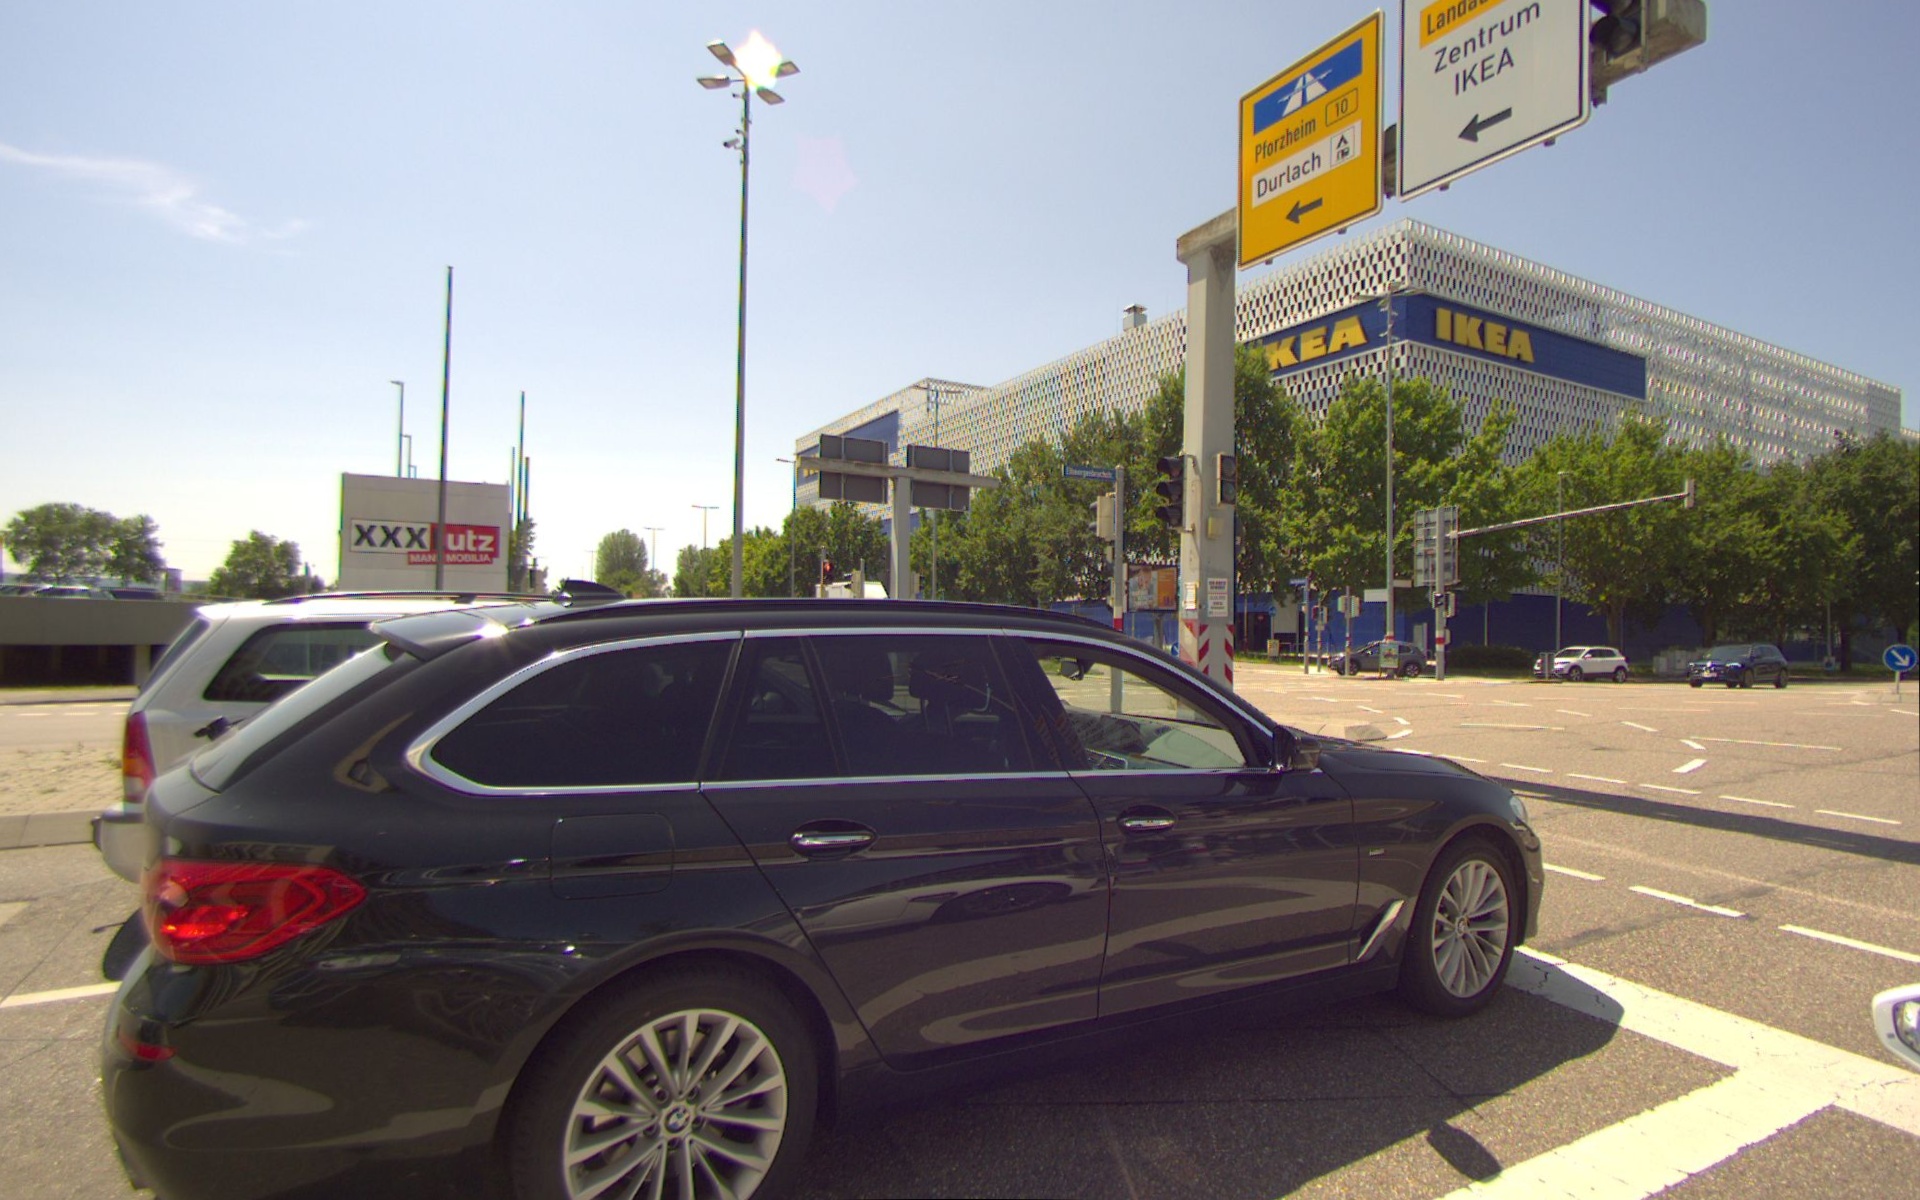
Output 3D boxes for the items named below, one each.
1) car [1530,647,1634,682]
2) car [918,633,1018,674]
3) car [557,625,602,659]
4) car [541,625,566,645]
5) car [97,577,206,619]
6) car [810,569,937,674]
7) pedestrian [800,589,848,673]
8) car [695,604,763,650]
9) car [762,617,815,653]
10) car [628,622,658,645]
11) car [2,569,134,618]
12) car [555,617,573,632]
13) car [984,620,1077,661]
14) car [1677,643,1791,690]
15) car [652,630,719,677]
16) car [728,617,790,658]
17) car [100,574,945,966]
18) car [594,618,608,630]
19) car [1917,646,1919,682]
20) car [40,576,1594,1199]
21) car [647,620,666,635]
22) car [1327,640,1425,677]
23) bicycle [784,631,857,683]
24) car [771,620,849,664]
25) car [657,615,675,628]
[{"bbox_3d":[27.441,2.846,44.343,4.002,1.476,1.622,2,-2,-15],"label":"car"},{"bbox_3d":[0.228,1.903,36.647,1.756,1.360,4.262,1,-2,-30],"label":"car"},{"bbox_3d":[-23.918,2.604,63.091,1.815,2.040,3.963,2,-2,-34],"label":"car"},{"bbox_3d":[-36.404,3.121,89.882,1.718,1.708,3.642,2,-2,-28],"label":"car"},{"bbox_3d":[-40.290,-0.049,50.194,3.956,1.933,1.983,2,-2,-32],"label":"car"},{"bbox_3d":[-3.383,0.791,37.521,2.156,3.532,6.875,0,-1,-28],"label":"car"},{"bbox_3d":[-3.372,0.775,24.908,0.856,2.040,0.899,1,-2,-35],"label":"pedestrian"},{"bbox_3d":[-13.870,1.661,60.018,2.542,2.568,6.587,2,-2,-26],"label":"car"},{"bbox_3d":[-10.118,2.089,59.076,1.974,2.014,3.974,2,-3,-26],"label":"car"},{"bbox_3d":[-29.107,3.072,92.087,1.906,2.040,3.971,2,-2,-28],"label":"car"},{"bbox_3d":[-39.073,-0.235,44.130,3.953,1.957,1.984,2,-2,-30],"label":"car"},{"bbox_3d":[-74.205,4.677,188.274,2.877,2.724,6.126,2,-2,-24],"label":"car"},{"bbox_3d":[3.601,2.097,52.120,1.986,2.034,4.704,3,-3,-43],"label":"car"},{"bbox_3d":[28.956,2.474,37.573,4.444,1.619,1.866,2,-3,-30],"label":"car"},{"bbox_3d":[-9.565,1.818,34.816,1.904,1.528,3.982,1,-2,-20],"label":"car"},{"bbox_3d":[-10.643,1.989,52.976,1.975,2.040,4.681,2,-2,-27],"label":"car"},{"bbox_3d":[-2.217,0.711,5.786,3.961,1.514,1.785,2,-1,-36],"label":"car"},{"bbox_3d":[-60.431,4.082,169.067,1.971,2.040,3.979,2,-2,-22],"label":"car"},{"bbox_3d":[40.626,2.600,40.719,3.663,1.445,1.724,2,-3,-30],"label":"car"},{"bbox_3d":[0.075,0.757,3.524,4.570,1.485,1.791,1,-1,-31],"label":"car"},{"bbox_3d":[-43.330,3.913,143.480,1.974,2.040,3.973,2,-3,-27],"label":"car"},{"bbox_3d":[18.153,2.532,43.949,3.678,1.553,1.778,0,-2,11],"label":"car"},{"bbox_3d":[-3.504,1.399,25.078,0.987,1.229,2.079,2,-2,-35],"label":"bicycle"},{"bbox_3d":[-6.805,1.867,44.999,1.973,1.835,5.438,1,-2,-25],"label":"car"},{"bbox_3d":[-47.806,3.489,163.221,1.974,2.040,3.972,2,-1,-27],"label":"car"}]
